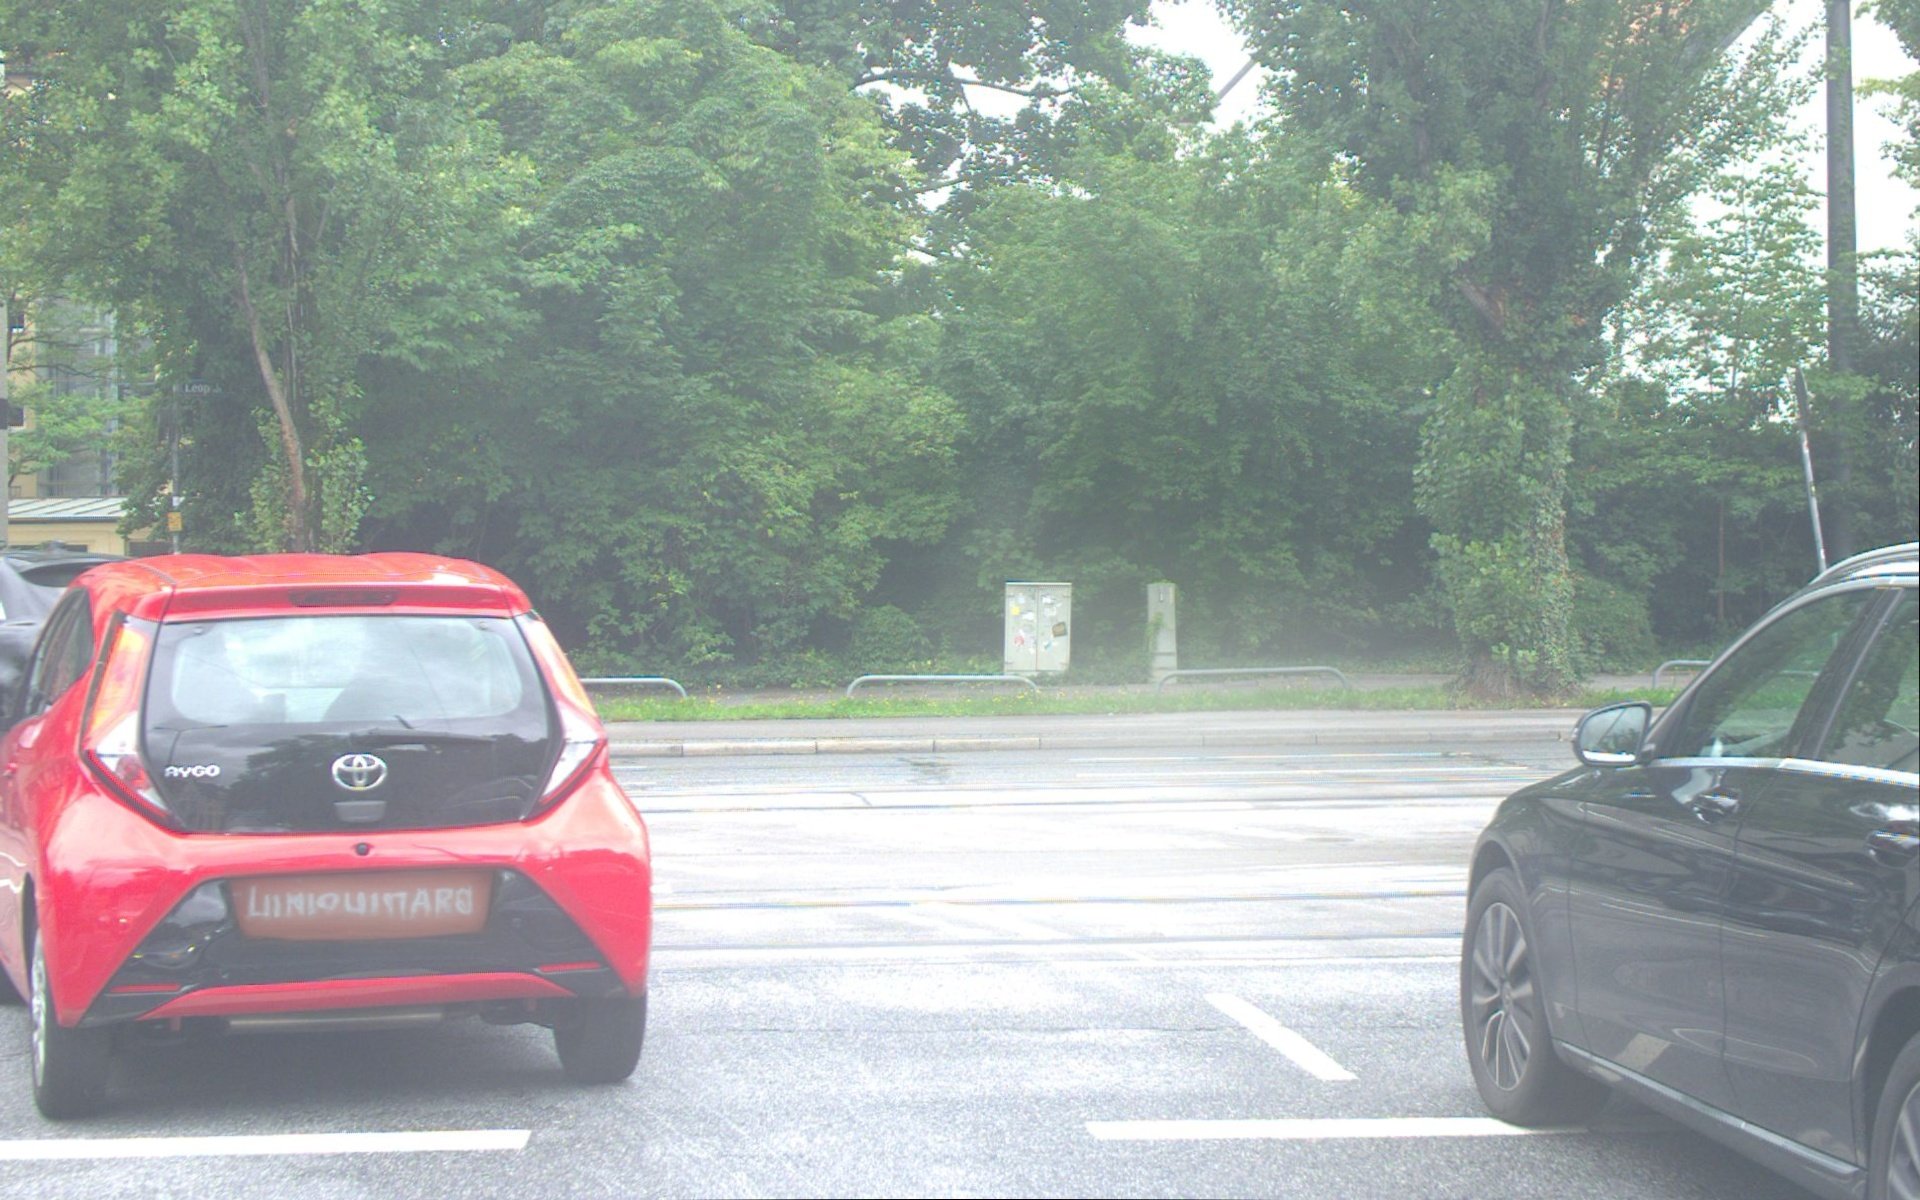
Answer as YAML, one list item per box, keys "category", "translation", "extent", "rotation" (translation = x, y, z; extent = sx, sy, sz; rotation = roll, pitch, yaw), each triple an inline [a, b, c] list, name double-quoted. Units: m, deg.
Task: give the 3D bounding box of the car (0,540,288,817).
- category: "car"
  translation: [-6.050, 0.419, 20.176]
  extent: [3.994, 1.481, 1.783]
  rotation: [0, 0, 33]

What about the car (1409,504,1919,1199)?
- category: "car"
  translation: [2.370, 0.589, 7.090]
  extent: [1.863, 1.544, 4.704]
  rotation: [0, 1, -5]

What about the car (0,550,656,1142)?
- category: "car"
  translation: [-2.114, 0.579, 10.278]
  extent: [1.628, 1.435, 3.377]
  rotation: [-1, 1, -19]
